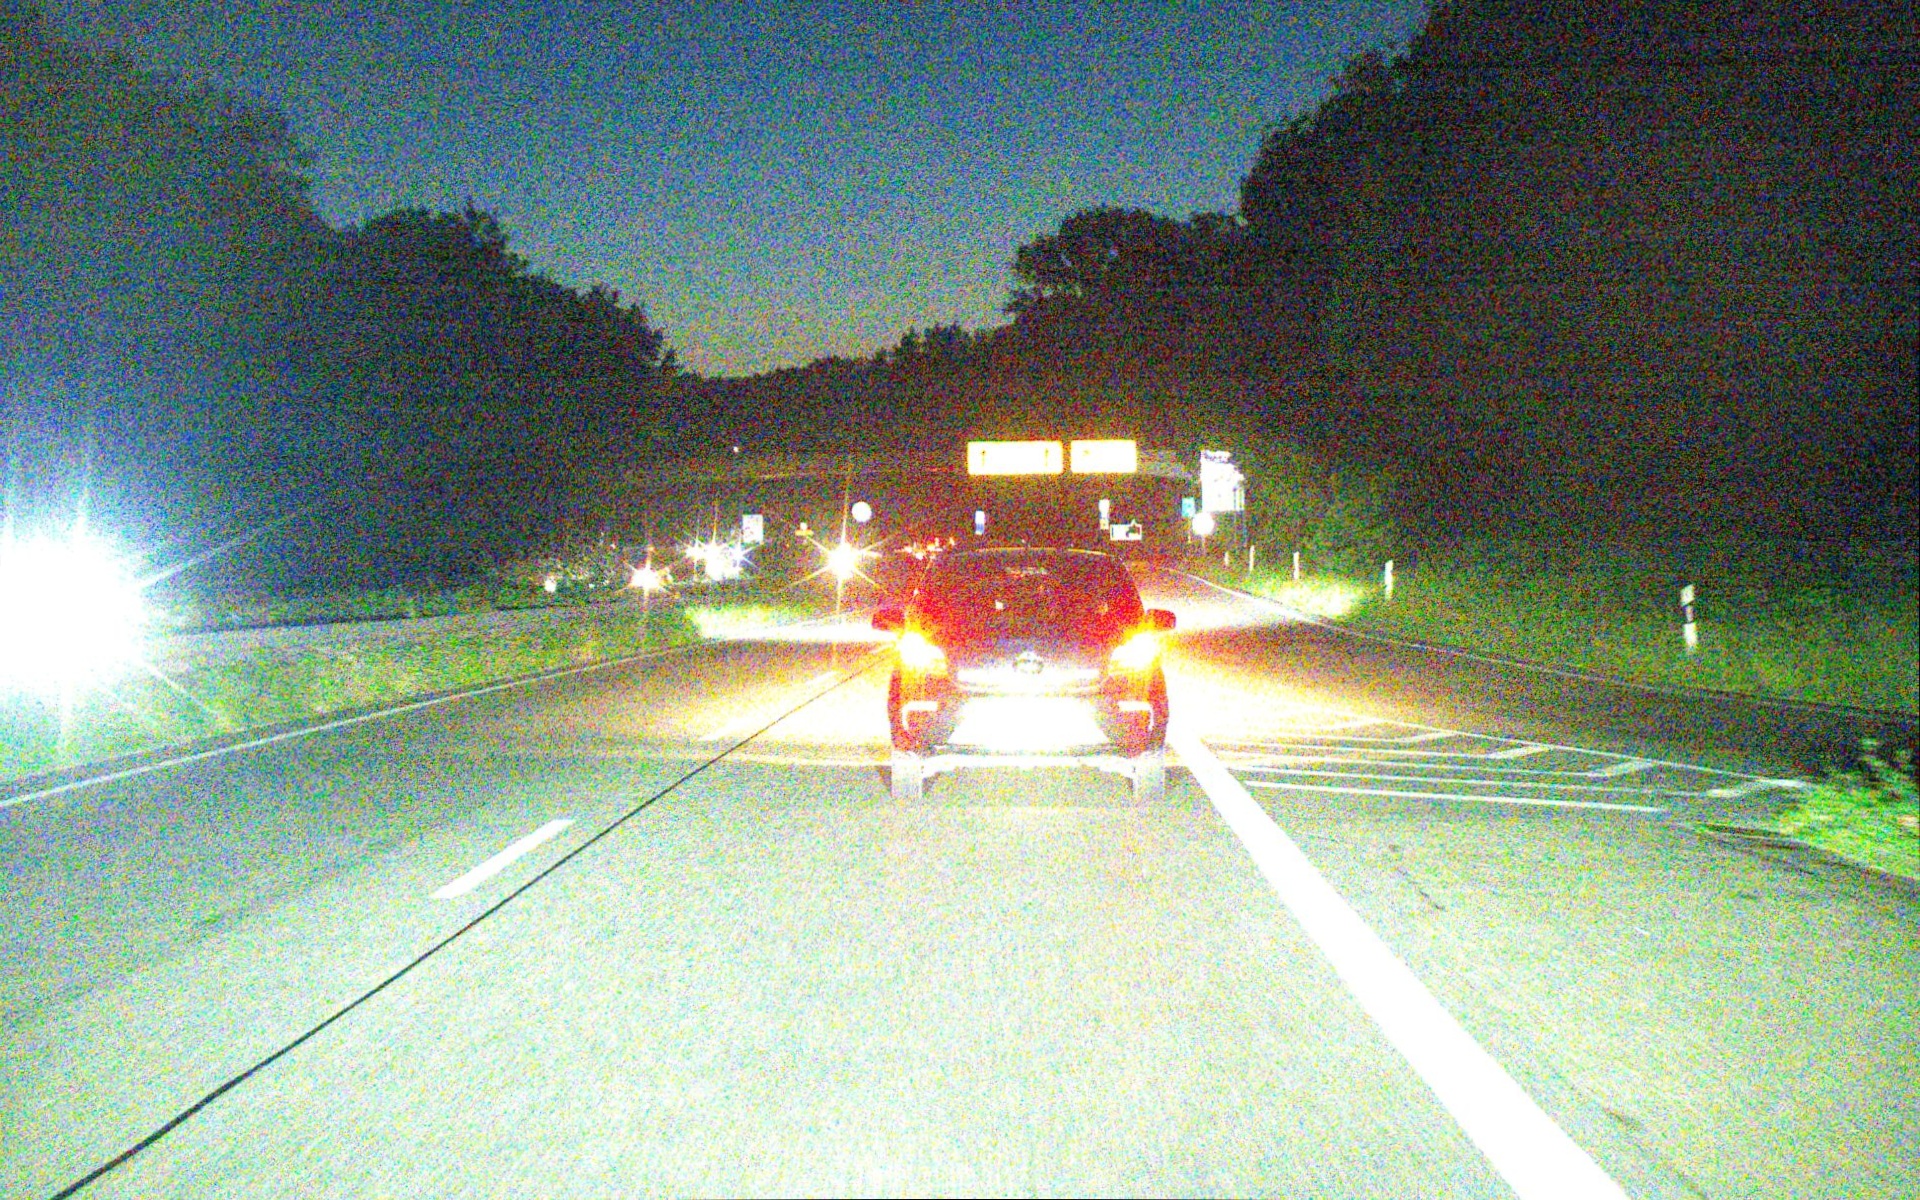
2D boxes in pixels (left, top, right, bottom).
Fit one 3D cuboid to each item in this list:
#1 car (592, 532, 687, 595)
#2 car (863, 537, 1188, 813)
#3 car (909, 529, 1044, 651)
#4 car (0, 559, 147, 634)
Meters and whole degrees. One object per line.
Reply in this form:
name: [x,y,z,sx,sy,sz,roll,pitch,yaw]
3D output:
car: [-9.352,-1.088,100.576,1.958,1.727,5.079,-2,1,3]
car: [0.312,0.386,21.215,1.588,1.503,4.001,1,1,-5]
car: [0.243,-0.181,50.663,1.906,1.692,4.000,0,2,0]
car: [-17.468,-0.099,67.509,1.771,1.406,4.844,0,1,1]
